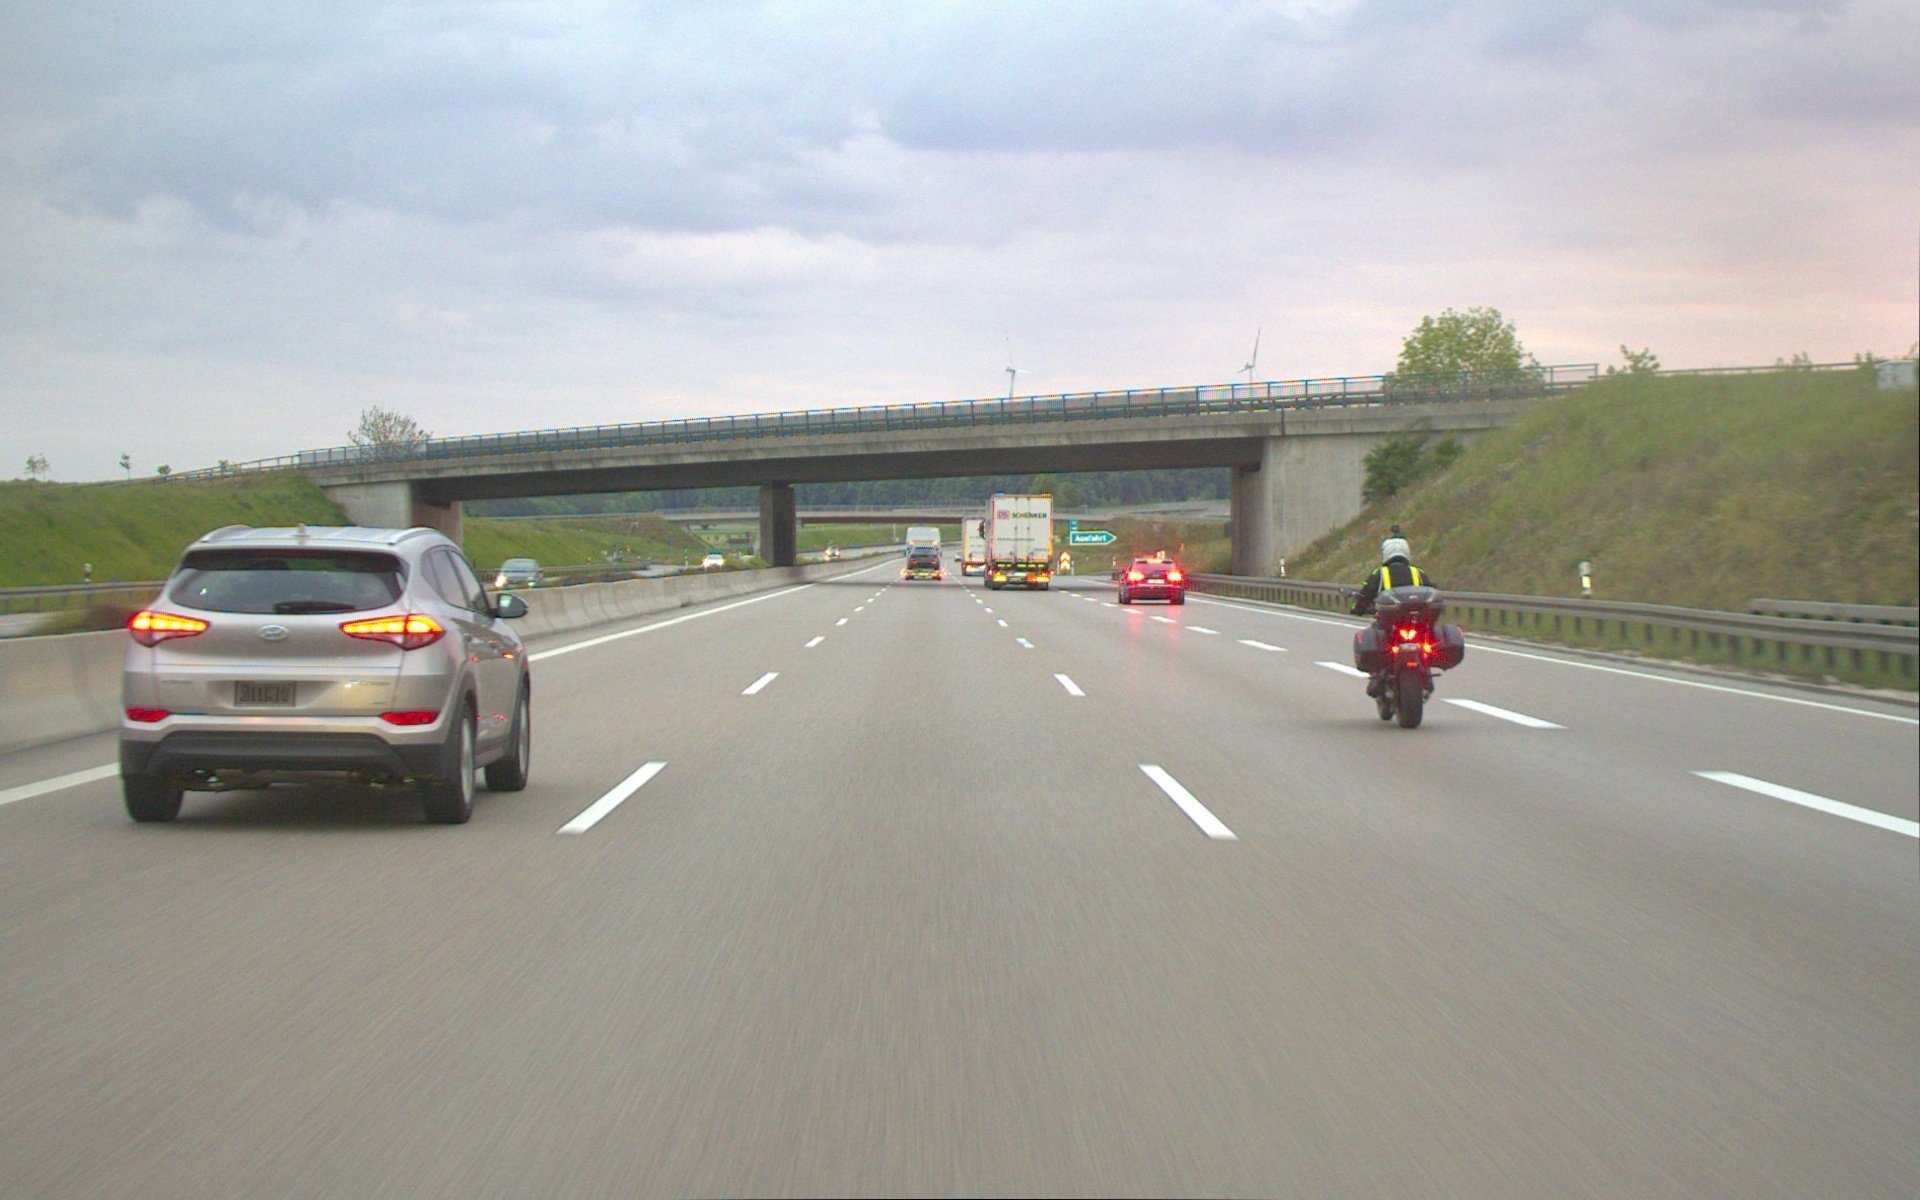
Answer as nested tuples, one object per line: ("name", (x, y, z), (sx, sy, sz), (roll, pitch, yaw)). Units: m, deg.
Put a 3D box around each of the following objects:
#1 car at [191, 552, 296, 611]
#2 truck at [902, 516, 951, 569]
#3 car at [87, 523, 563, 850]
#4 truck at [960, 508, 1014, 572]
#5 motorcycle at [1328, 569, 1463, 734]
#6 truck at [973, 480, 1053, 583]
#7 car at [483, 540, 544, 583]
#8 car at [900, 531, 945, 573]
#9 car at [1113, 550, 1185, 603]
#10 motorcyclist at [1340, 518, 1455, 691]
("car", (-20.165, -0.537, 96.918), (1.993, 1.597, 5.200), (0, 1, -2))
("truck", (-2.093, -3.603, 214.064), (2.951, 3.206, 8.406), (1, 2, -1))
("car", (-3.596, 0.393, 20.514), (1.852, 1.687, 5.512), (0, 1, 0))
("truck", (1.853, -4.229, 239.052), (3.525, 4.330, 8.406), (1, 2, -1))
("motorcycle", (3.843, 0.430, 30.490), (0.902, 1.342, 2.349), (0, 2, 0))
("truck", (2.236, -2.962, 147.511), (3.234, 4.213, 9.599), (1, 2, 0))
("car", (-17.289, -1.506, 133.252), (1.819, 1.623, 4.000), (0, 1, 0))
("car", (-2.202, -2.782, 198.128), (2.516, 2.383, 6.497), (0, 1, -1))
("car", (5.825, -0.753, 106.319), (1.918, 1.574, 4.000), (0, 1, -1))
("motorcyclist", (3.855, 0.027, 30.384), (0.866, 1.482, 1.168), (1, 1, 1))
